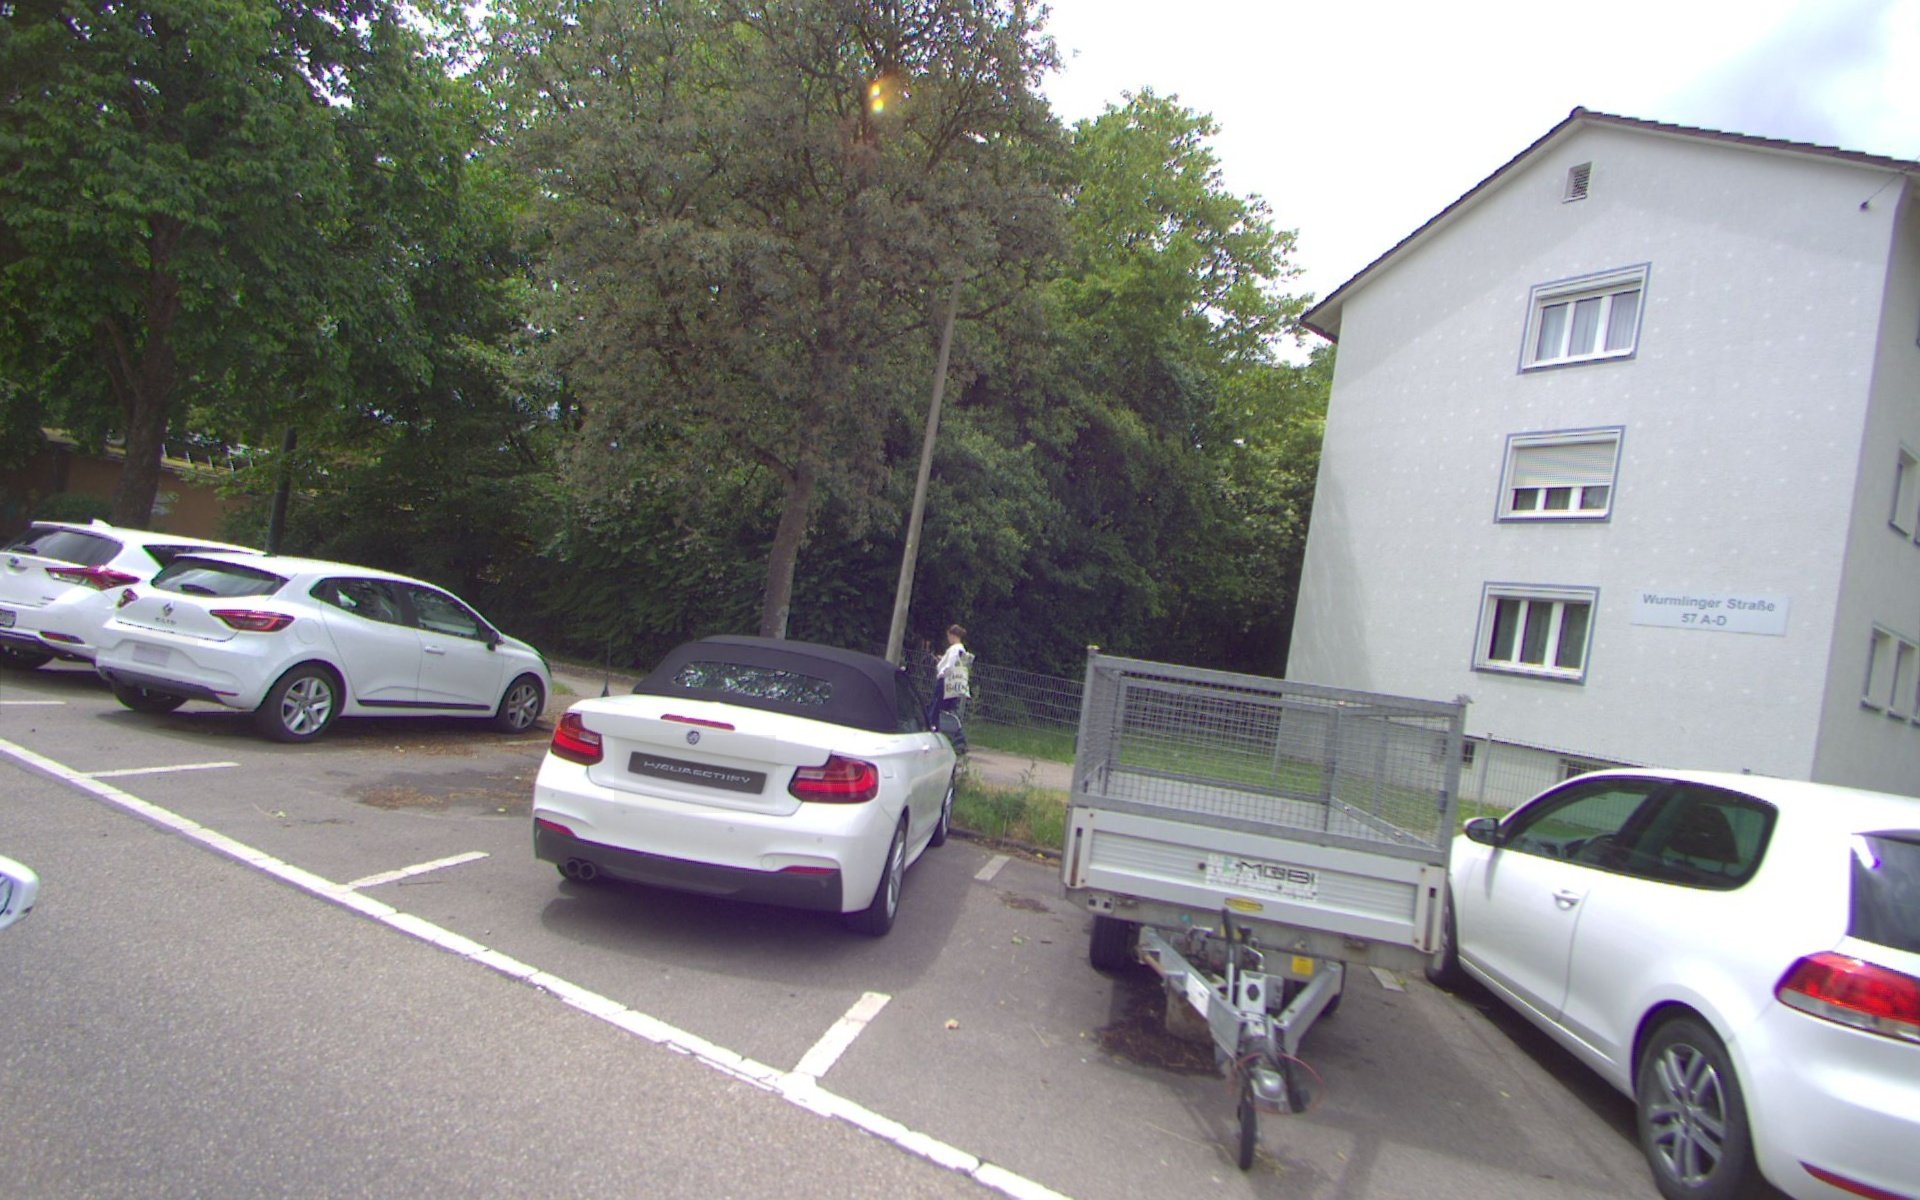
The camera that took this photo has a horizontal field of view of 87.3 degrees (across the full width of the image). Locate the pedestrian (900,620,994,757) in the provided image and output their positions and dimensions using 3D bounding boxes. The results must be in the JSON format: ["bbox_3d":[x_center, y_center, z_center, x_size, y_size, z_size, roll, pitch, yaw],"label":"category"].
[{"bbox_3d":[-0.174,1.151,13.161,0.689,1.662,0.770,9,-2,-40],"label":"pedestrian"}]

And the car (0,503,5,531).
[{"bbox_3d":[-18.937,-1.299,16.326,1.871,1.602,4.491,7,-4,19],"label":"car"}]

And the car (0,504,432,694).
[{"bbox_3d":[-7.867,0.106,10.526,1.830,1.479,4.008,7,-4,13],"label":"car"}]

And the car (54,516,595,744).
[{"bbox_3d":[-5.496,0.397,9.429,1.762,1.479,4.008,7,-4,15],"label":"car"}]

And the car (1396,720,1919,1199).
[{"bbox_3d":[3.452,1.459,4.485,1.757,1.479,4.009,7,-4,11],"label":"car"}]

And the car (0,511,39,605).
[{"bbox_3d":[-16.716,-0.962,14.858,1.764,1.479,4.155,7,-4,15],"label":"car"}]

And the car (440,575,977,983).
[{"bbox_3d":[-1.072,0.908,6.325,1.816,1.479,4.008,8,-4,7],"label":"car"}]

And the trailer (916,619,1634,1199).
[{"bbox_3d":[1.204,1.091,4.588,1.627,1.569,4.006,7,-3,13],"label":"trailer"}]
